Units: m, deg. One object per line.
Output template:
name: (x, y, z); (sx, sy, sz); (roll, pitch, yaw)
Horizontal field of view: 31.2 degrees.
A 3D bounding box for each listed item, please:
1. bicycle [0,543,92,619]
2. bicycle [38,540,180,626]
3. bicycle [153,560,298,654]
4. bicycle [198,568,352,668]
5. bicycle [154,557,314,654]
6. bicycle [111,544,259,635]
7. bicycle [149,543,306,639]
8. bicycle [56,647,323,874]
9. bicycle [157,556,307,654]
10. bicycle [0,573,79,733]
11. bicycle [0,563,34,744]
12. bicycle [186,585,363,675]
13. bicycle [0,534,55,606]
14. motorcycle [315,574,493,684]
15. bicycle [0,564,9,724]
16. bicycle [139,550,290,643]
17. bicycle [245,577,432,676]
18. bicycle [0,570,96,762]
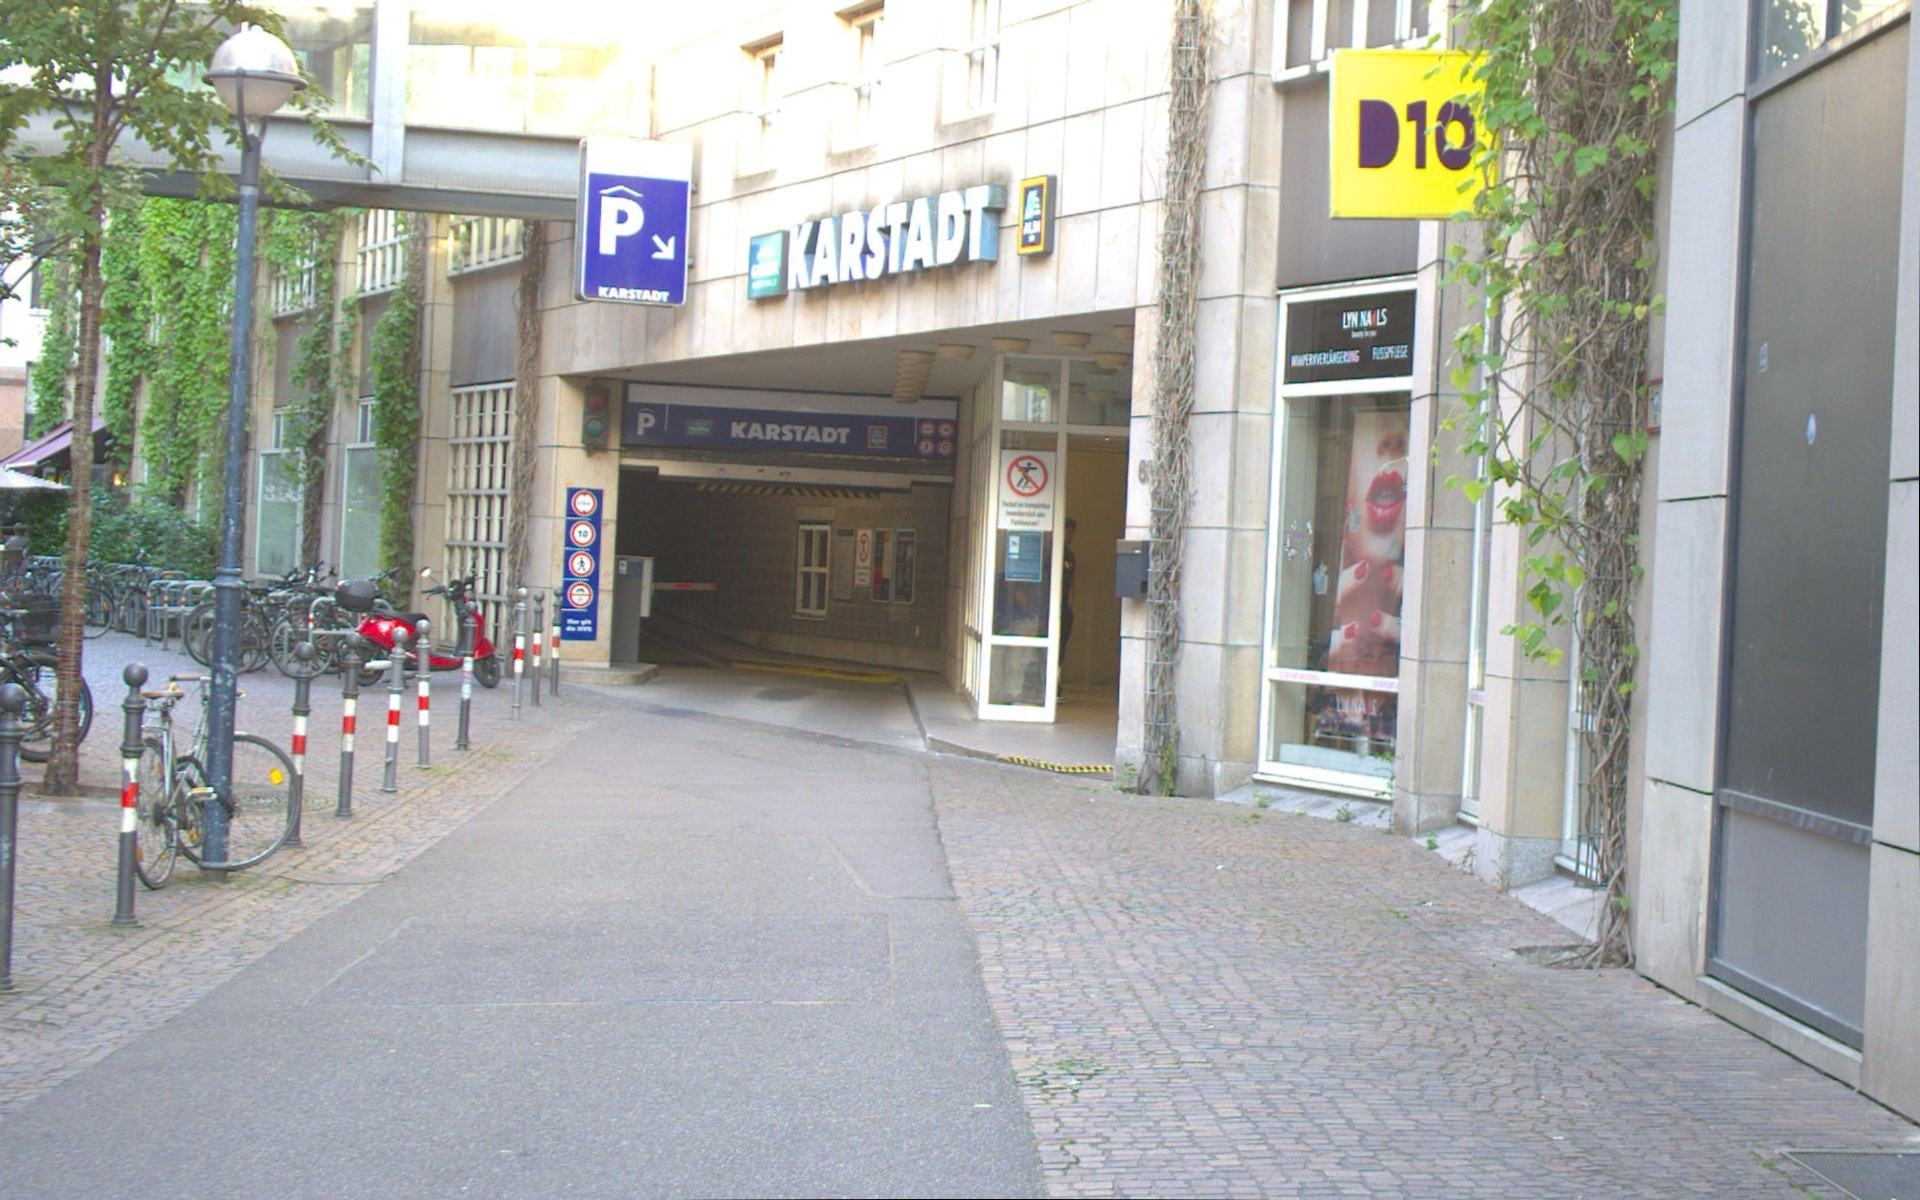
bicycle: (-14.180, -0.302, 52.389); (1.773, 1.110, 0.543); (2, 1, -20)
bicycle: (-11.561, -0.235, 46.703); (1.773, 1.110, 0.543); (2, 1, -22)
bicycle: (-8.559, 0.086, 40.073); (1.539, 1.045, 0.575); (2, 1, -22)
bicycle: (-7.519, 0.195, 37.736); (1.539, 1.045, 0.575); (2, 1, -22)
bicycle: (-8.710, 0.065, 41.242); (1.773, 1.110, 0.543); (2, 1, -22)
bicycle: (-10.041, -0.136, 44.555); (1.773, 1.110, 0.543); (2, 1, -22)
bicycle: (-9.013, -0.106, 42.303); (1.773, 1.110, 0.543); (2, 1, -22)
bicycle: (-3.539, 0.714, 15.923); (0.493, 0.935, 1.658); (4, 1, 13)
bicycle: (-8.190, 0.060, 38.688); (1.539, 1.045, 0.575); (2, 1, -22)
bicycle: (-7.229, 0.363, 24.321); (1.836, 1.118, 0.534); (1, 1, -24)
bicycle: (-7.235, 0.352, 23.496); (1.653, 1.226, 0.534); (1, 1, -24)
bicycle: (-7.336, 0.322, 36.793); (1.773, 0.901, 0.464); (2, 1, -22)
bicycle: (-16.166, -0.516, 57.767); (1.773, 1.186, 0.586); (2, 1, -22)
motorcycle: (-5.556, 0.289, 34.378); (1.662, 1.047, 0.464); (2, 1, -22)
bicycle: (-7.998, 0.303, 25.247); (1.872, 1.173, 0.534); (1, 1, -24)
bicycle: (-9.432, -0.045, 43.492); (1.773, 1.110, 0.543); (2, 1, -22)
bicycle: (-6.499, 0.284, 35.971); (1.847, 0.978, 0.464); (2, 1, -22)
bicycle: (-6.535, 0.416, 22.174); (1.766, 1.226, 0.534); (1, 1, -24)
